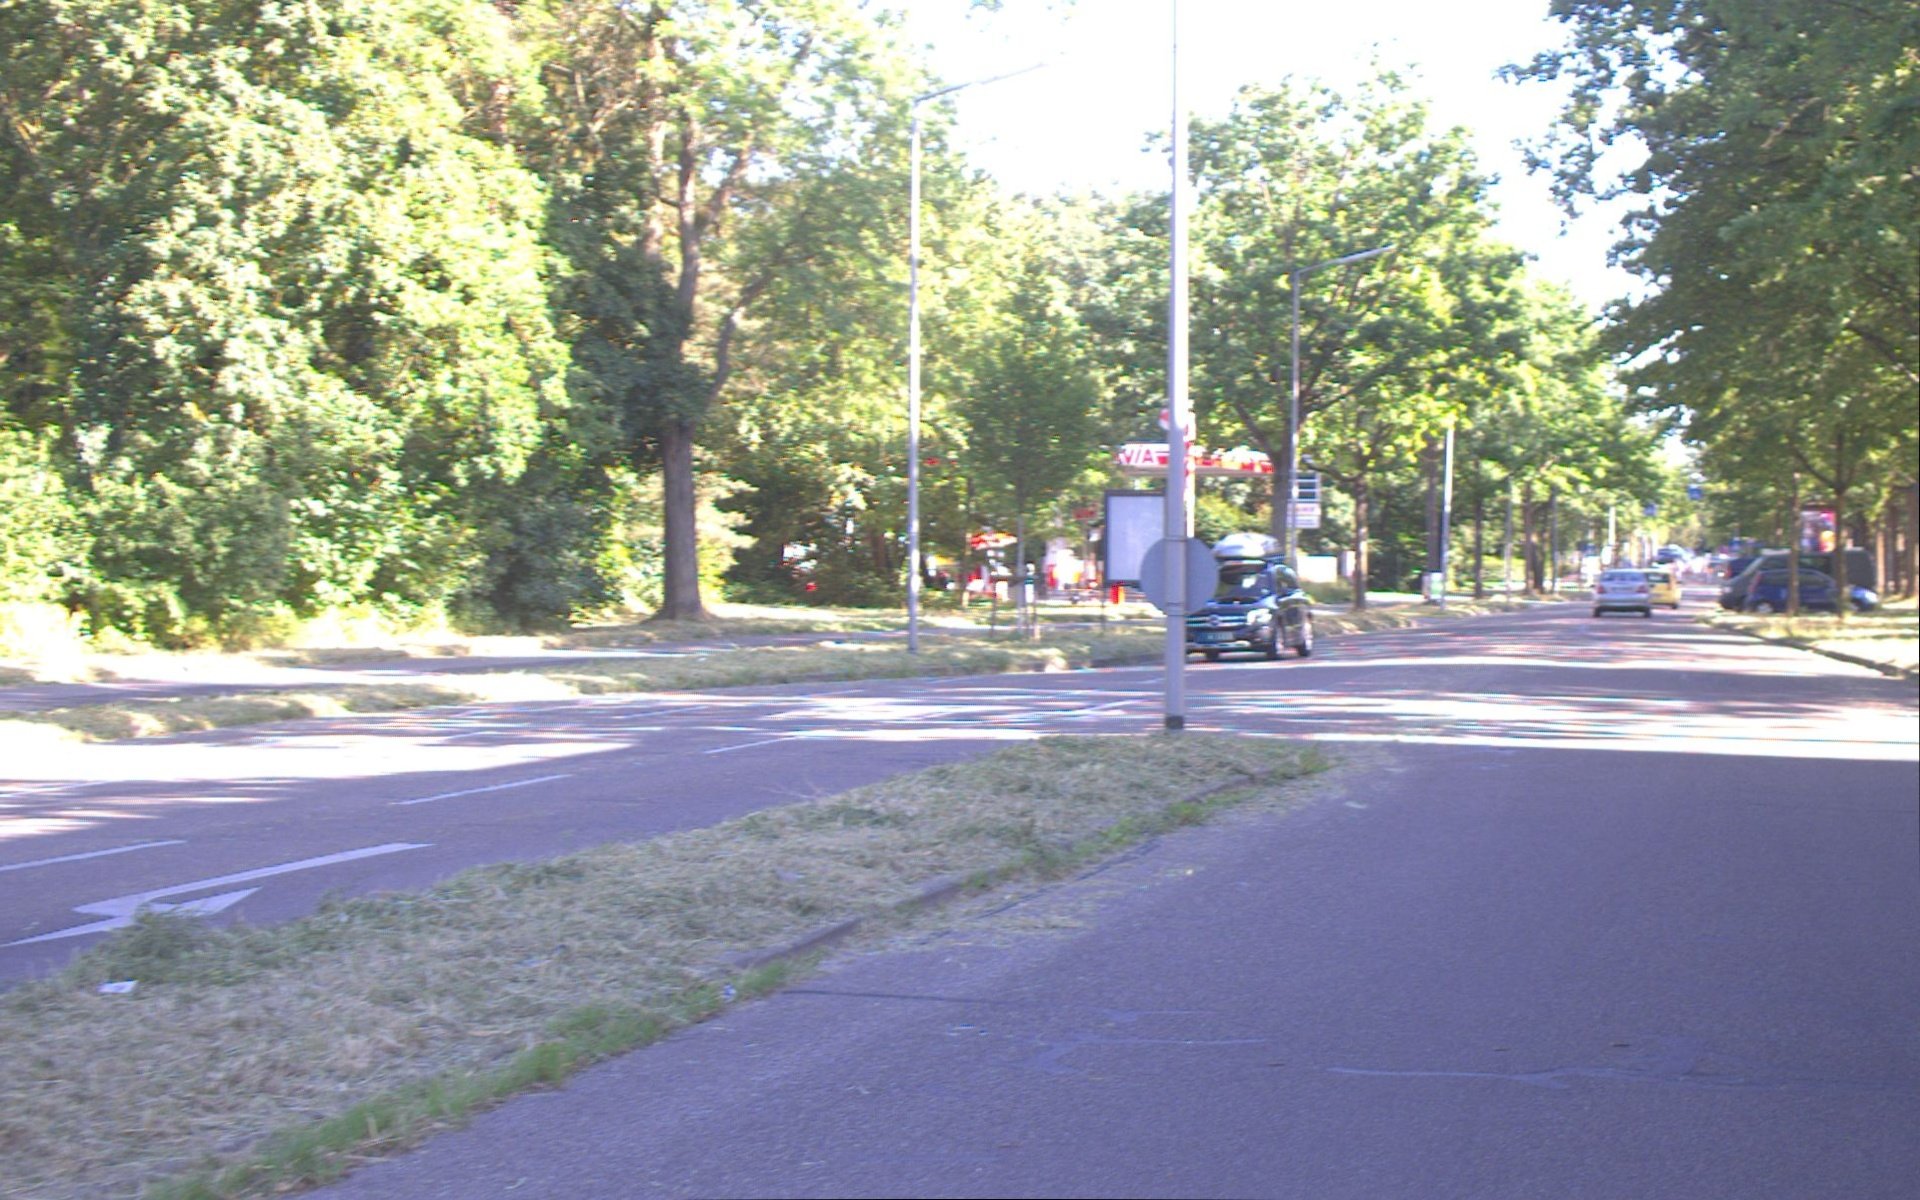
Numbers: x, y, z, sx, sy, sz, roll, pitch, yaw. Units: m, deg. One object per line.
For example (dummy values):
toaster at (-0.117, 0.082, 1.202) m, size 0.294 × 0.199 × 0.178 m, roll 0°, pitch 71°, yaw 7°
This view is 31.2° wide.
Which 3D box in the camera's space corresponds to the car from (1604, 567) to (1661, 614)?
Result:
car at (20.125, -0.279, 102.838) m, size 1.662 × 1.332 × 3.663 m, roll 0°, pitch -1°, yaw 11°

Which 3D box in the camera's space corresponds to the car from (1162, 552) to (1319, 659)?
car at (4.738, 0.074, 57.604) m, size 1.841 × 1.702 × 4.501 m, roll 0°, pitch 0°, yaw 15°

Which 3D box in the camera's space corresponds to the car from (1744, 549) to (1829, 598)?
car at (36.183, -1.155, 150.513) m, size 3.569 × 2.044 × 1.632 m, roll 0°, pitch -3°, yaw 12°

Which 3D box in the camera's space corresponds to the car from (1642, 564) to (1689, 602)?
car at (26.041, -0.627, 126.905) m, size 1.662 × 1.332 × 3.663 m, roll 0°, pitch -1°, yaw 11°

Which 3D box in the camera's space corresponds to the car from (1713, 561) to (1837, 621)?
car at (24.933, -0.270, 105.191) m, size 3.655 × 1.791 × 1.317 m, roll 0°, pitch -1°, yaw 12°

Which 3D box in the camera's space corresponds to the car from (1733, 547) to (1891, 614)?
car at (25.371, -0.570, 102.505) m, size 4.505 × 1.946 × 1.686 m, roll 0°, pitch -1°, yaw 12°

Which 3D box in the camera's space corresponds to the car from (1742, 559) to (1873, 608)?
car at (24.551, -0.465, 99.684) m, size 3.655 × 1.393 × 1.317 m, roll 0°, pitch -1°, yaw 12°
